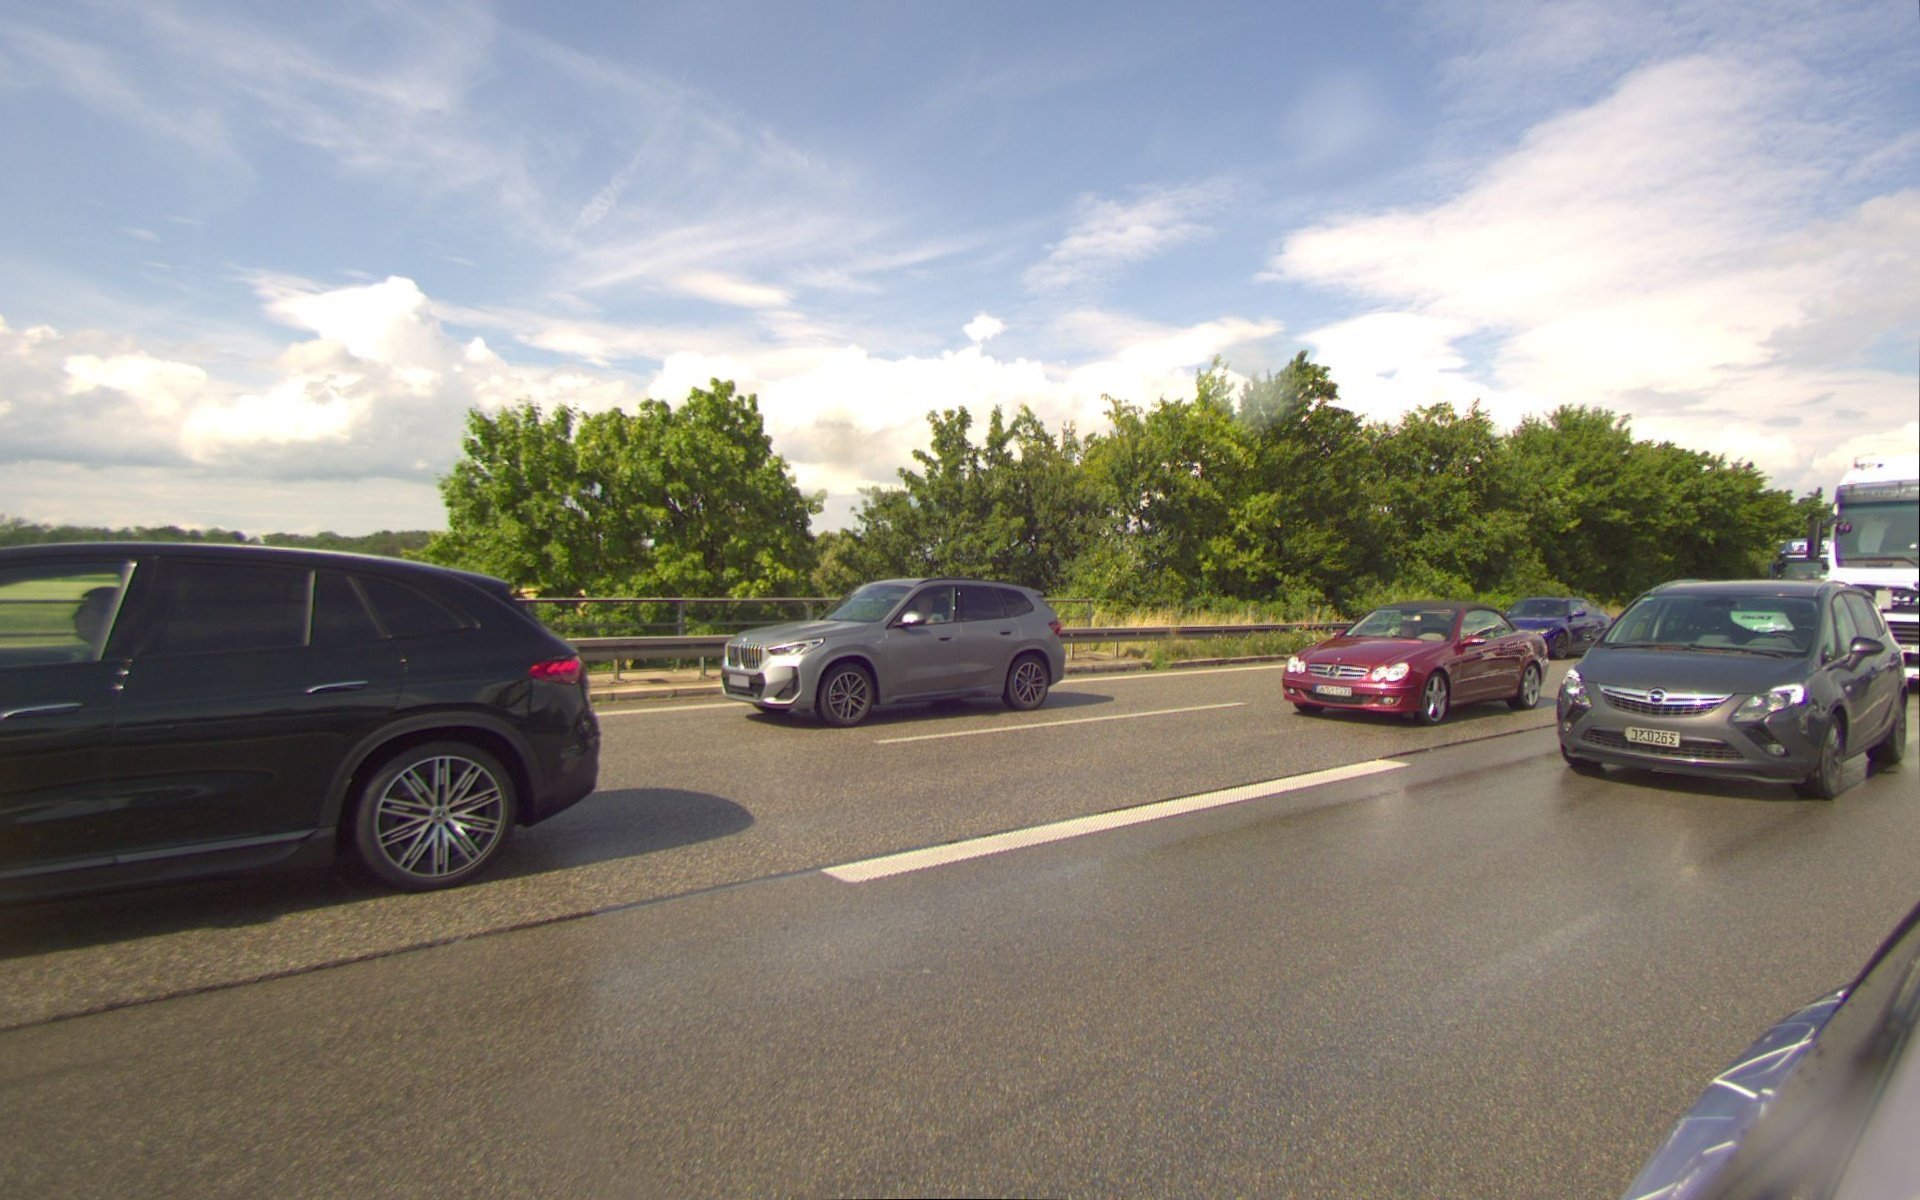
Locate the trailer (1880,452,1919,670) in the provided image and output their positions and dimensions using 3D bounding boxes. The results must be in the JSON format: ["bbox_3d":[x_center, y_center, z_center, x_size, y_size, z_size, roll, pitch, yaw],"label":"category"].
[{"bbox_3d":[23.252,-0.791,22.070,11.327,4.158,2.790,-1,0,-38],"label":"trailer"}]

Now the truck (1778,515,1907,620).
[{"bbox_3d":[36.075,-1.293,41.314,5.762,4.003,3.111,-1,1,-40],"label":"truck"}]

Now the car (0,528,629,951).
[{"bbox_3d":[-4.145,0.512,4.697,4.570,1.601,1.998,0,1,-39],"label":"car"}]

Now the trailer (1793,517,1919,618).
[{"bbox_3d":[42.093,-1.413,46.372,16.051,4.003,3.111,-1,1,-40],"label":"trailer"}]

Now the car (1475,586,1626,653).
[{"bbox_3d":[14.450,0.419,24.682,4.426,1.481,1.791,-1,0,-40],"label":"car"}]

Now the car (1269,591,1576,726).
[{"bbox_3d":[5.979,0.608,12.849,4.429,1.428,1.756,0,0,-39],"label":"car"}]

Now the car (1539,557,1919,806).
[{"bbox_3d":[6.993,0.523,8.909,4.317,1.668,1.883,0,1,-39],"label":"car"}]

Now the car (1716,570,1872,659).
[{"bbox_3d":[19.918,0.267,24.083,5.075,1.909,1.954,-1,1,-40],"label":"car"}]

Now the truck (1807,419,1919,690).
[{"bbox_3d":[17.677,-0.730,17.753,7.309,4.158,2.817,-1,0,-38],"label":"truck"}]

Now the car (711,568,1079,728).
[{"bbox_3d":[-0.667,0.461,12.213,4.209,1.606,1.752,-1,0,-39],"label":"car"}]
